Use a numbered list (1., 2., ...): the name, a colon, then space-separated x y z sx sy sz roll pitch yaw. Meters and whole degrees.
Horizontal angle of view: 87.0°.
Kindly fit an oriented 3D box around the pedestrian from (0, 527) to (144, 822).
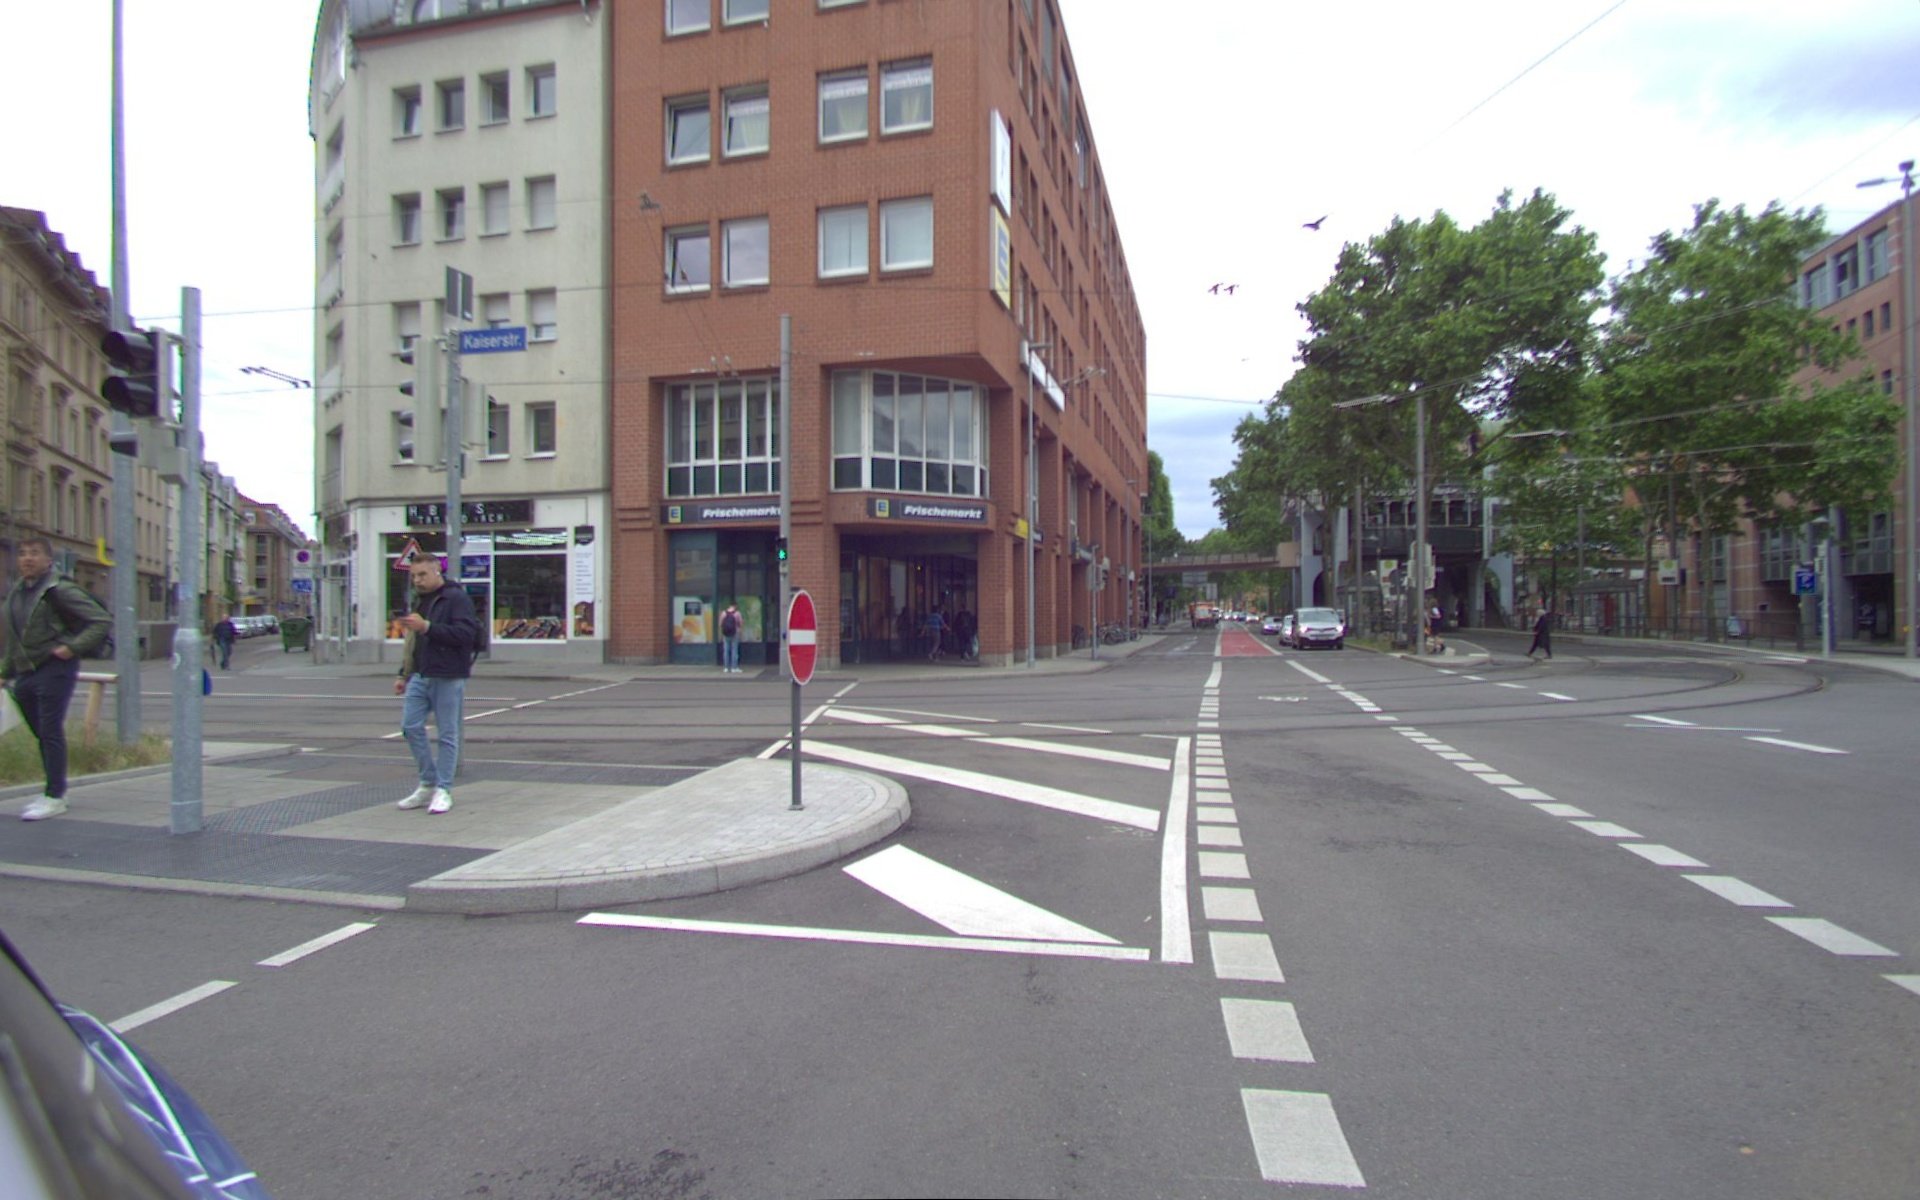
1. pedestrian: -6.468 0.476 7.073 0.791 1.904 0.896 0 1 13

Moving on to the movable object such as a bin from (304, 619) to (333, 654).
1. movable object such as a bin: -26.913 1.530 42.471 0.994 1.416 1.242 -1 0 -34

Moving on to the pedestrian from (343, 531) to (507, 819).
1. pedestrian: -3.722 0.494 7.076 0.791 1.904 0.610 0 -1 13

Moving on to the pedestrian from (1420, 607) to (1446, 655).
1. pedestrian: 15.970 1.038 34.180 0.622 1.624 0.573 1 0 7

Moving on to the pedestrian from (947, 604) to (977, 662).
1. pedestrian: 0.066 0.982 30.308 0.790 1.696 0.743 0 1 11

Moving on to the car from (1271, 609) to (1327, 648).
1. car: 16.393 1.366 49.135 1.907 1.807 3.988 -1 -1 9

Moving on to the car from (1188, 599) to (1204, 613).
1. car: 31.438 0.839 134.661 1.911 1.807 3.687 -1 -1 16

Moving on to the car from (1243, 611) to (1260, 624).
1. car: 36.632 2.170 127.194 1.660 1.559 3.695 -1 -1 9

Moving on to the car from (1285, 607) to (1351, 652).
1. car: 14.987 1.211 42.614 1.907 1.807 3.988 -1 -1 9

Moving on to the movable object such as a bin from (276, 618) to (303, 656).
1. movable object such as a bin: -27.763 1.512 41.911 0.931 1.512 1.242 -1 0 -34

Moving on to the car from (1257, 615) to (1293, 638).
1. car: 22.594 1.888 72.757 1.907 1.575 3.858 -1 -1 9

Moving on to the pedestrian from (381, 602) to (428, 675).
1. pedestrian: -13.240 0.915 24.144 0.713 1.700 0.661 1 -1 3

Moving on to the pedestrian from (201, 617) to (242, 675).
1. pedestrian: -22.173 1.375 30.400 0.920 1.700 0.655 0 -1 30

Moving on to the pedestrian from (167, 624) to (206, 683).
1. pedestrian: -22.648 1.548 29.647 0.720 1.700 0.655 0 -1 30

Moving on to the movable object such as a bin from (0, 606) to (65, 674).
1. movable object such as a bin: -28.482 1.203 30.932 1.606 1.996 1.027 1 -1 22

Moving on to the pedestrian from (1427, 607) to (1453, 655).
1. pedestrian: 16.473 1.052 34.739 0.622 1.624 0.573 1 0 7

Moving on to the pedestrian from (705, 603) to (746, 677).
1. pedestrian: -5.536 0.931 23.937 0.790 1.696 0.569 0 1 11

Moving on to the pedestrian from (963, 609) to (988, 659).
1. pedestrian: 0.551 1.183 35.666 0.790 1.696 0.743 0 1 11

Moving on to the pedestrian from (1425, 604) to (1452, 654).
1. pedestrian: 15.404 0.912 32.564 0.622 1.586 0.573 1 0 7

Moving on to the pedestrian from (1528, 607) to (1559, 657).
1. pedestrian: 18.741 1.025 32.526 0.739 1.572 0.570 1 0 20
